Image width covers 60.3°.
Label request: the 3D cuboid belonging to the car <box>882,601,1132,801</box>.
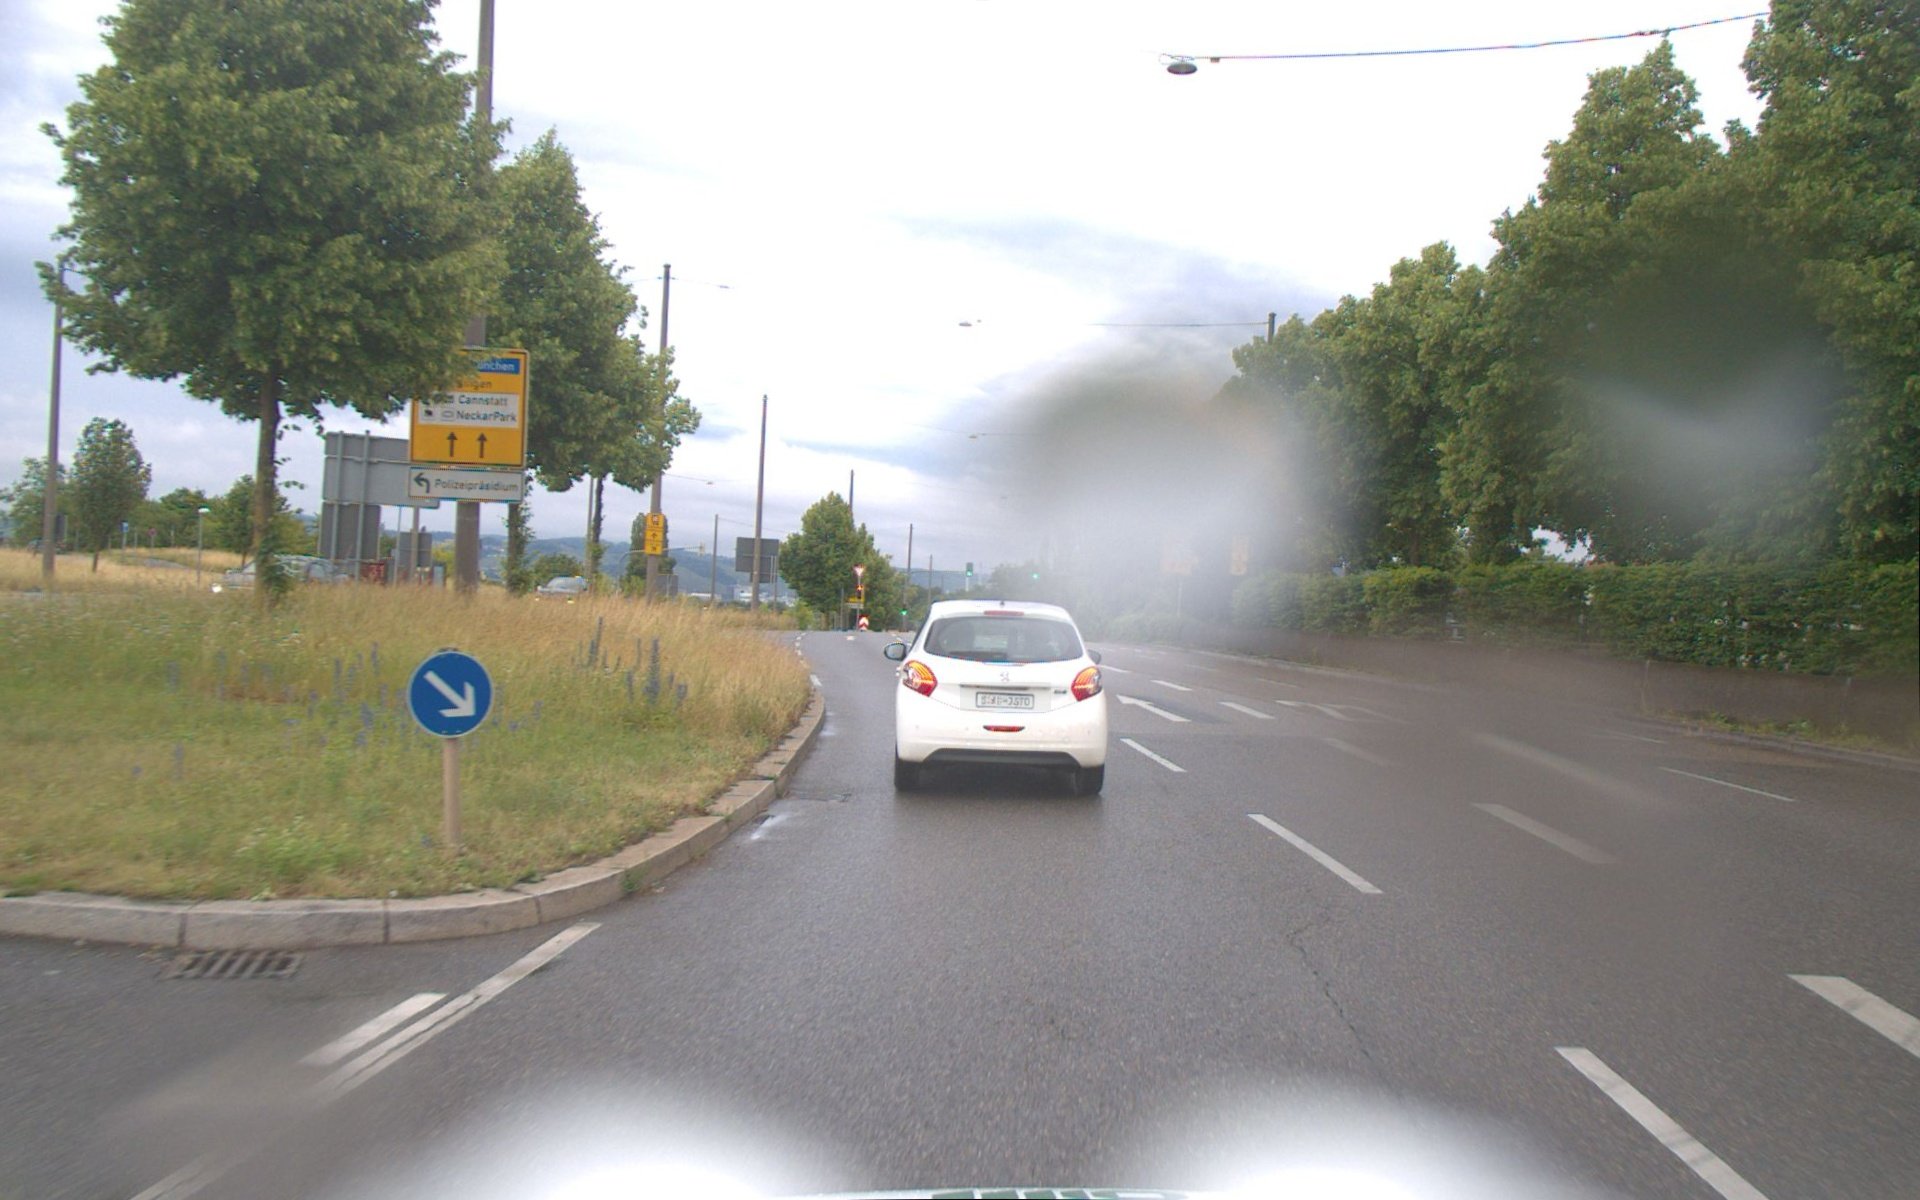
[{"bbox_3d":[0.269,0.759,14.063,1.675,1.465,3.686,1,0,-6],"label":"car"}]

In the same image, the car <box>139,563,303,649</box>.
[{"bbox_3d":[-16.084,0.111,36.253,1.841,1.682,4.354,2,0,-4],"label":"car"}]

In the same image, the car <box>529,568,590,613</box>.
[{"bbox_3d":[-16.826,-0.388,69.659,1.732,1.780,3.998,2,0,-3],"label":"car"}]
